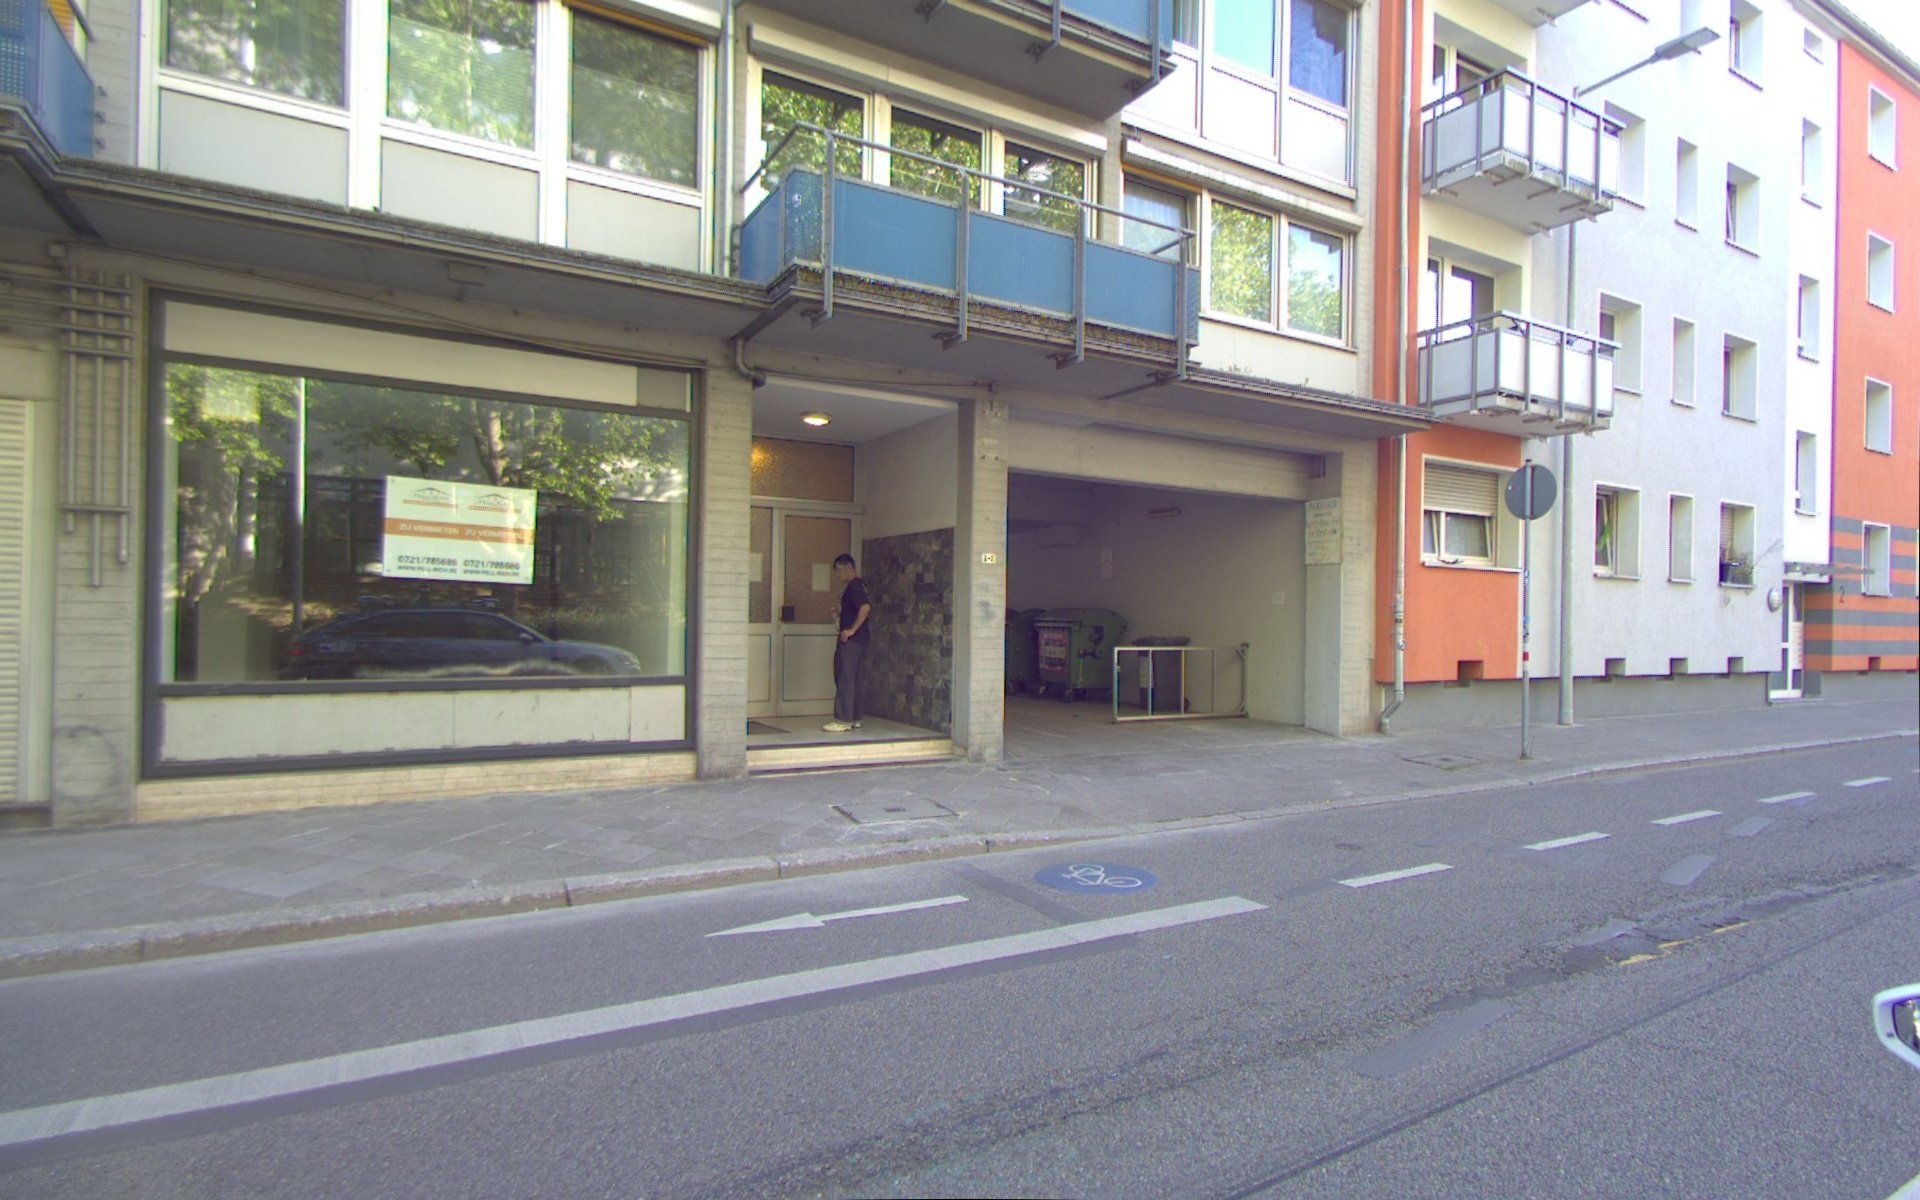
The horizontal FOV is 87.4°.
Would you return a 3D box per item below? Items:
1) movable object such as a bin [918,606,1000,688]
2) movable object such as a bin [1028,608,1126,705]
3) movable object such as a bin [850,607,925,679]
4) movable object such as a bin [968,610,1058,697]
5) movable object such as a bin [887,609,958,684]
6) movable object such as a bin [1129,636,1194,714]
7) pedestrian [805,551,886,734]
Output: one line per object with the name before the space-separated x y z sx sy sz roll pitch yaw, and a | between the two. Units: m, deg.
movable object such as a bin | -0.030 0.848 18.663 1.011 1.462 1.318 1 0 -29
movable object such as a bin | 1.823 0.860 15.834 1.009 1.438 1.321 1 0 -23
movable object such as a bin | -1.496 0.871 20.650 1.014 1.409 1.264 1 0 -37
movable object such as a bin | 0.895 0.881 17.158 1.011 1.409 1.319 1 0 -27
movable object such as a bin | -0.741 0.894 19.672 1.012 1.409 1.046 1 0 -31
movable object such as a bin | 2.890 1.060 14.414 0.704 1.054 0.583 1 0 -30
pedestrian | -1.142 0.413 10.057 0.518 1.764 0.630 1 0 27
